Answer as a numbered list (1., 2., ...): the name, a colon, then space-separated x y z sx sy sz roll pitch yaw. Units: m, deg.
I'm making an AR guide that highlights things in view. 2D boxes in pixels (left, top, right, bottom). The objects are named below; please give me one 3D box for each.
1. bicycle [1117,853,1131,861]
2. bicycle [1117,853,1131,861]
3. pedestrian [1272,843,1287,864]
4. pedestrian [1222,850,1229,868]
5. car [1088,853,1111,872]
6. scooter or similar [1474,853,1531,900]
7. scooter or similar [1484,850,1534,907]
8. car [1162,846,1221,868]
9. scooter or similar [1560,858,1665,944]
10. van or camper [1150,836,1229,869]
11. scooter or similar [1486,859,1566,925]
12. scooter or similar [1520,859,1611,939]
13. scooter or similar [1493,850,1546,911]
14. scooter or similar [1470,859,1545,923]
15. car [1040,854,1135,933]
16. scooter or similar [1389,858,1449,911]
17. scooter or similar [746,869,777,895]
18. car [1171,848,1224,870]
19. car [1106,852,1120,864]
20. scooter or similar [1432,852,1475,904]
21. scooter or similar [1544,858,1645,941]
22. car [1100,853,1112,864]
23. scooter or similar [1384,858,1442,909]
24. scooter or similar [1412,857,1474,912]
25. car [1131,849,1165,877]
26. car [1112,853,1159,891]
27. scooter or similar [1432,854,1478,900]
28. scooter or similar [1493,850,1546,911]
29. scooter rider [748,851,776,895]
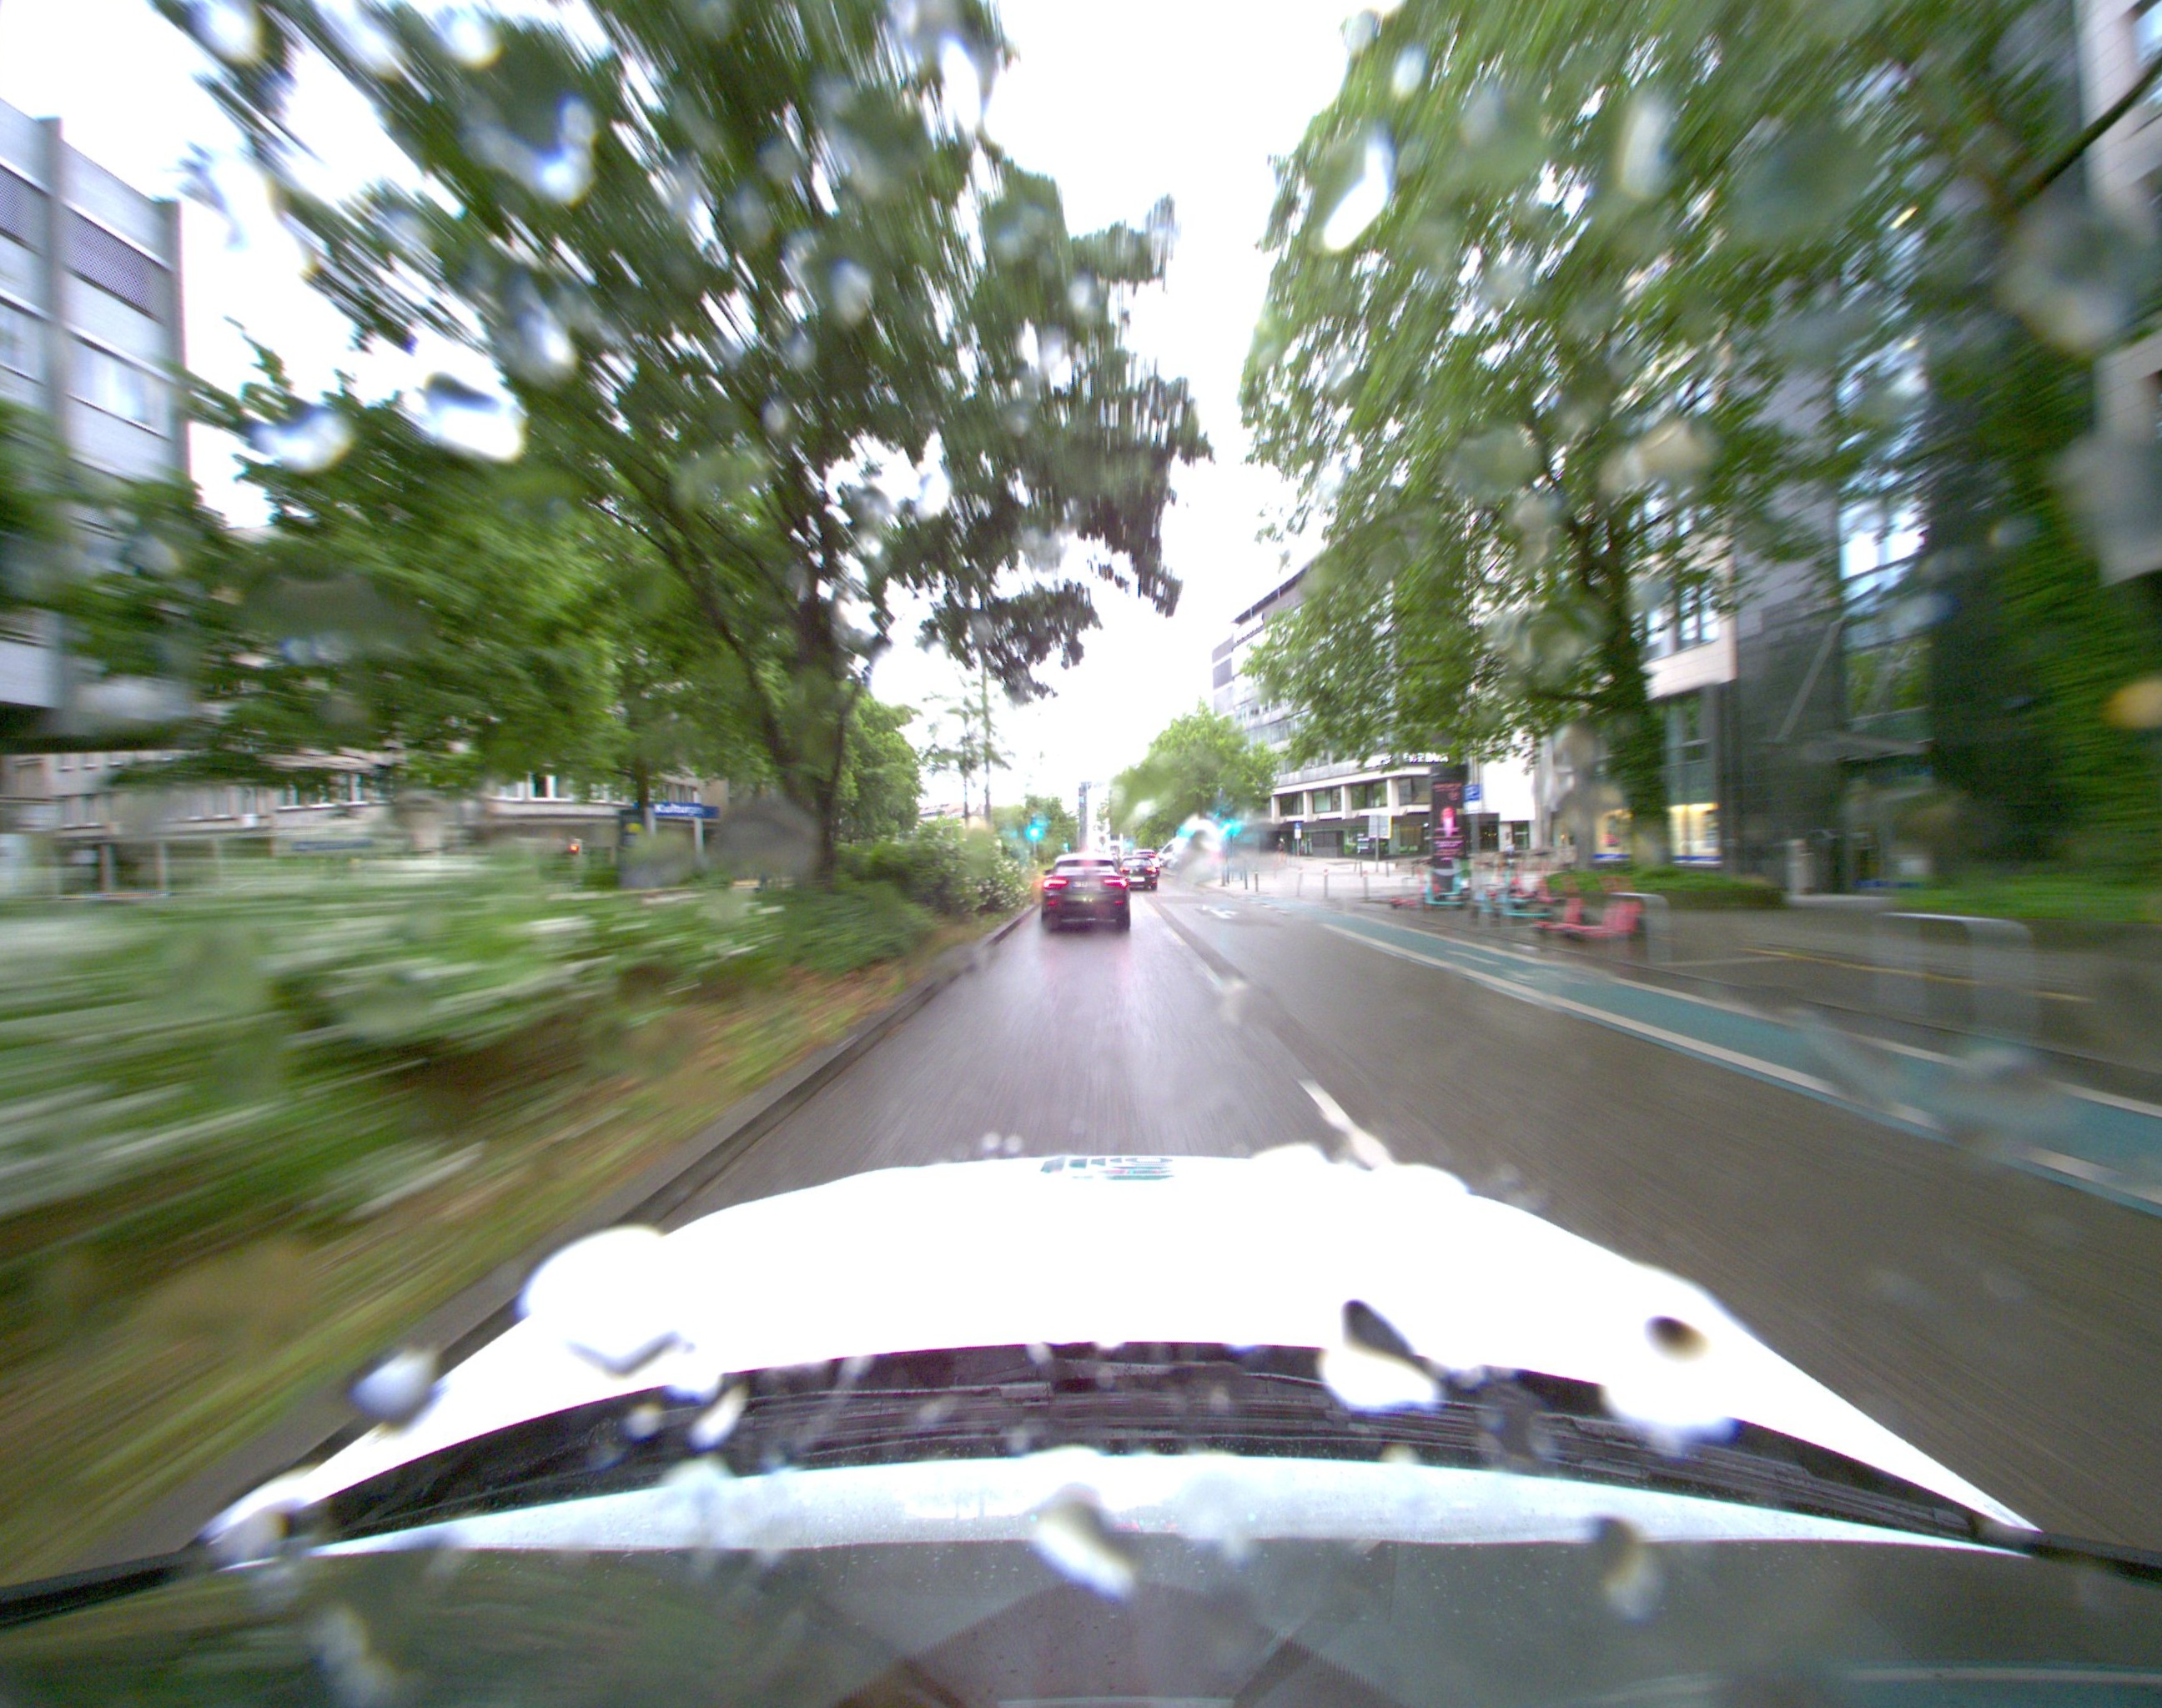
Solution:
1. bicycle: 7.730 0.516 145.741 2.335 1.312 0.708 -1 0 -7
2. bicycle: 7.658 0.523 143.700 2.335 1.312 0.708 -1 0 -7
3. pedestrian: 16.086 -0.028 65.933 0.804 1.696 1.185 -1 0 -4
4. pedestrian: 15.061 0.511 84.980 0.551 1.805 0.761 0 -1 -2
5. car: 1.523 0.697 68.009 1.843 1.523 4.039 -1 0 1
6. scooter or similar: 11.211 0.590 21.689 0.490 1.198 1.281 -1 -1 -29
7. scooter or similar: 10.153 0.570 19.367 0.486 1.259 1.294 -3 1 1
8. car: 8.681 0.274 63.887 4.217 1.667 1.829 -1 0 27
9. scooter or similar: 8.482 0.742 13.029 1.283 1.278 0.538 -3 1 5
10. van or camper: 8.910 -0.118 67.174 6.008 2.558 2.117 -1 0 28
11. scooter or similar: 8.895 0.759 16.290 1.284 1.235 0.489 -3 1 3
12. scooter or similar: 8.420 0.757 14.159 1.289 1.278 0.535 -3 1 -10
13. scooter or similar: 9.745 0.558 18.140 0.486 1.259 1.294 -3 1 1
14. scooter or similar: 8.911 0.768 17.035 1.284 1.235 0.489 -3 1 3
15. car: 0.153 0.787 18.051 1.843 1.523 4.038 -1 0 0
16. scooter or similar: 8.496 0.755 20.496 1.280 1.259 0.491 -2 1 12
17. scooter or similar: -14.066 1.237 35.849 1.179 1.113 0.434 -1 0 -3
18. car: 8.772 0.371 61.198 3.618 1.547 1.723 -1 0 20
19. car: 4.152 0.509 106.026 1.843 1.523 4.039 -1 0 1
20. scooter or similar: 9.625 0.596 21.079 0.486 1.259 1.294 -3 1 1
21. scooter or similar: 8.477 0.748 13.473 1.283 1.278 0.538 -3 1 5
22. car: 3.734 0.691 121.499 1.843 1.523 4.039 -1 0 1
23. scooter or similar: 8.587 0.762 21.107 1.280 1.259 0.491 -2 1 12
24. scooter or similar: 8.856 0.745 19.958 1.280 1.259 0.491 -2 1 12
25. car: 4.149 0.554 50.838 1.843 1.669 4.039 -1 0 1
26. car: 2.284 0.735 34.986 1.843 1.523 4.039 -1 0 1
27. scooter or similar: 10.049 0.603 21.929 0.487 1.198 1.290 -1 -1 -8
28. scooter or similar: 9.745 0.558 18.140 0.486 1.259 1.294 -3 1 1
29. scooter rider: -14.067 0.829 35.910 0.897 1.940 0.757 -1 0 -2
